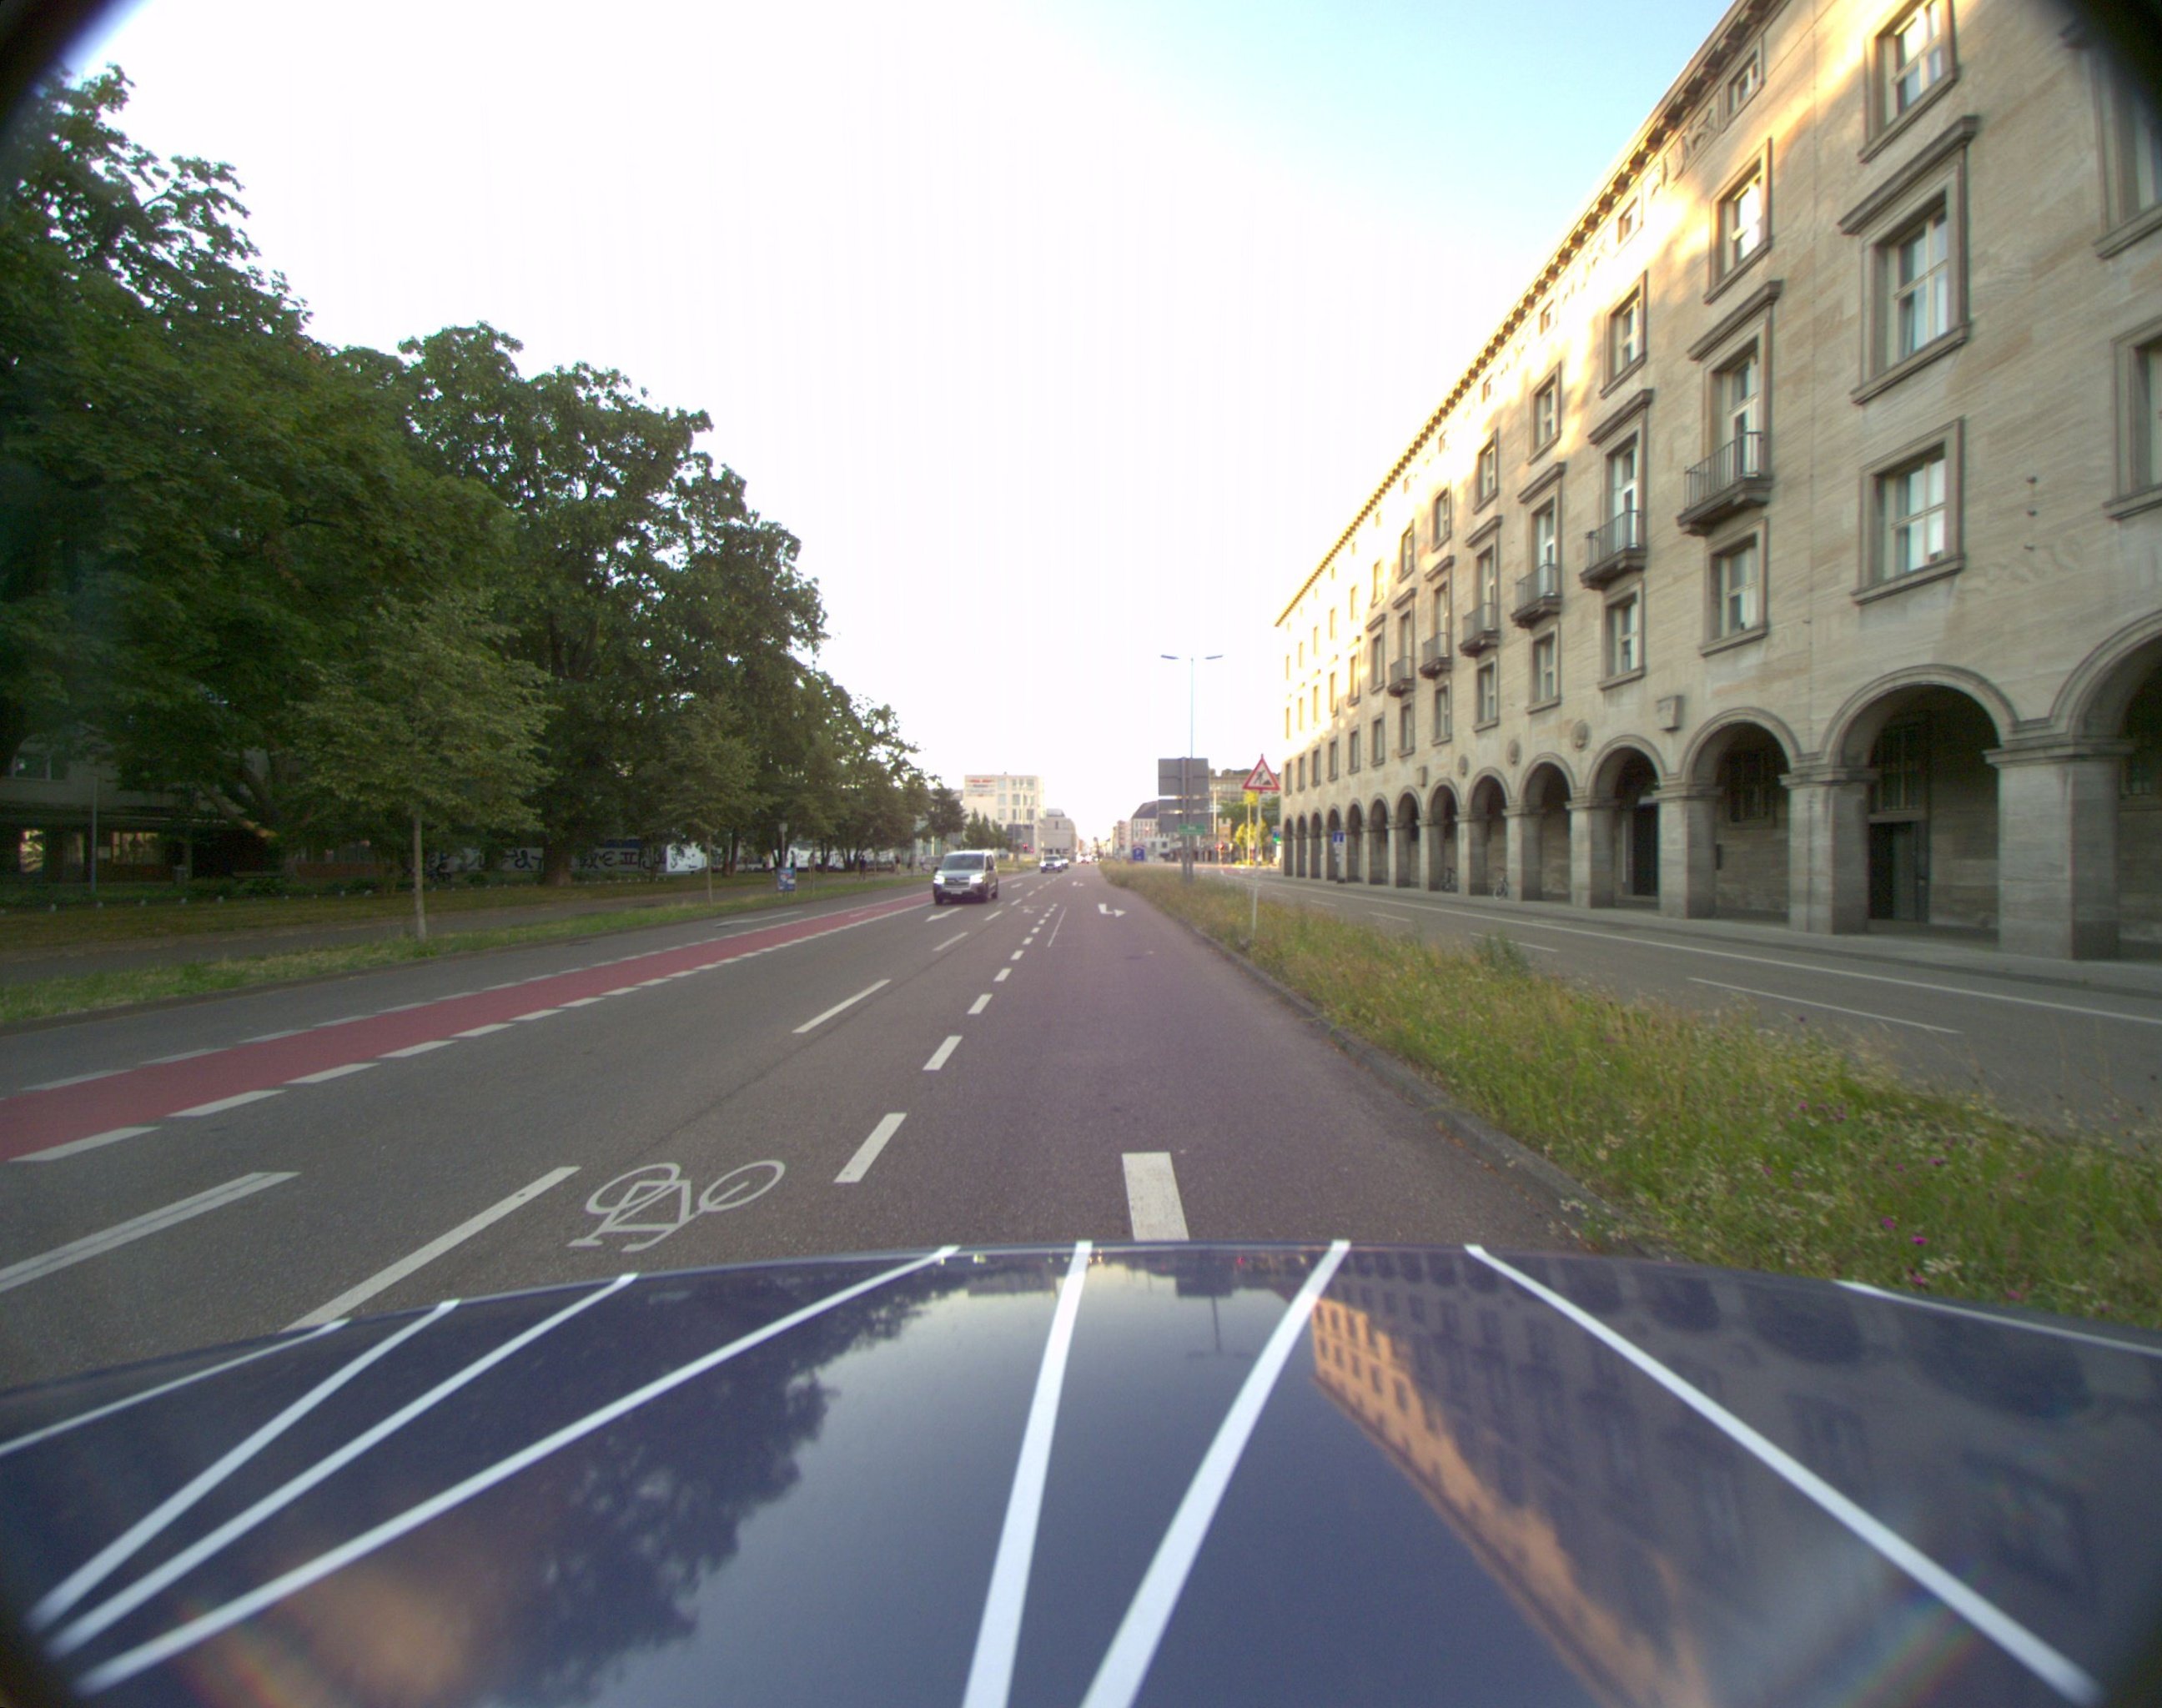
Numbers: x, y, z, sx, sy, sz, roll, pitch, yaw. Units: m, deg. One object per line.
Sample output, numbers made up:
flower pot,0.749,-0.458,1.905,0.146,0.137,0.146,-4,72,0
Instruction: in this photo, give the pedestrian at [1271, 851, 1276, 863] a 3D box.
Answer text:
pedestrian,25.837,0.416,101.852,0.526,1.532,0.390,0,1,1

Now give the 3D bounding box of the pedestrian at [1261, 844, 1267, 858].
pedestrian,24.559,-0.401,102.144,0.638,1.747,0.506,0,1,1

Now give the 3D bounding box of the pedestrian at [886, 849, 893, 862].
pedestrian,-21.143,0.156,83.836,0.519,1.347,0.773,0,1,1

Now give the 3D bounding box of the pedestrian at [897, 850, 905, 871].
pedestrian,-14.913,0.563,62.987,0.509,1.720,0.719,0,1,1

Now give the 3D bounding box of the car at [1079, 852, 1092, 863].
car,0.699,0.557,117.877,1.782,1.676,4.216,0,0,2

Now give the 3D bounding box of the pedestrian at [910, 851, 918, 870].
pedestrian,-15.112,0.552,68.670,0.519,1.720,0.719,0,1,1

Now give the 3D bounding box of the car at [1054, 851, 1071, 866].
car,-2.070,0.510,86.514,1.782,1.617,4.215,-1,0,1

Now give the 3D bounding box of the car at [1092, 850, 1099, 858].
car,4.305,0.093,230.908,1.999,2.297,5.089,0,0,-1

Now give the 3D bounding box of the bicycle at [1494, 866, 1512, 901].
bicycle,15.345,1.048,27.623,0.513,1.115,2.427,0,1,30

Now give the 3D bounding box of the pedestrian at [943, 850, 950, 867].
pedestrian,-14.371,0.475,81.023,0.638,1.747,0.506,0,1,1

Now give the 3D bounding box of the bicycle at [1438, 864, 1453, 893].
bicycle,15.448,1.018,32.235,0.513,1.172,2.427,0,0,25

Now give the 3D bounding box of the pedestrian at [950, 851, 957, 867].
pedestrian,-13.531,0.546,80.806,0.638,1.747,0.506,0,1,1

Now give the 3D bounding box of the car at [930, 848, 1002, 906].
car,-3.993,0.752,27.136,1.767,1.877,4.500,-1,0,1

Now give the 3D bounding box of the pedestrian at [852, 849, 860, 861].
pedestrian,-24.231,0.098,81.692,0.631,1.347,0.681,0,1,1

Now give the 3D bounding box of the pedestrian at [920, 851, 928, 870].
pedestrian,-14.140,0.551,68.464,0.509,1.720,0.719,0,1,1

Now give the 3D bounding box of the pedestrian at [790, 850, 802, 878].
pedestrian,-16.556,0.568,44.140,0.500,1.592,0.522,0,1,1

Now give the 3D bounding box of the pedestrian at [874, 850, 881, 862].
pedestrian,-22.438,0.205,83.648,0.654,1.347,0.505,0,1,1

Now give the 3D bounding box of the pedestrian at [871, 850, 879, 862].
pedestrian,-22.191,0.228,81.822,0.662,1.347,0.559,0,1,1

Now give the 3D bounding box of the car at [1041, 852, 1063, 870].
car,-2.738,0.671,72.014,1.826,1.612,4.336,-2,0,0

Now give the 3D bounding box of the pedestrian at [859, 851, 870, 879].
pedestrian,-13.499,0.669,47.399,0.558,1.729,0.555,0,1,1

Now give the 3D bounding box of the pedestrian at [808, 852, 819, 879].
pedestrian,-15.856,0.680,45.098,0.500,1.592,0.365,0,1,1
